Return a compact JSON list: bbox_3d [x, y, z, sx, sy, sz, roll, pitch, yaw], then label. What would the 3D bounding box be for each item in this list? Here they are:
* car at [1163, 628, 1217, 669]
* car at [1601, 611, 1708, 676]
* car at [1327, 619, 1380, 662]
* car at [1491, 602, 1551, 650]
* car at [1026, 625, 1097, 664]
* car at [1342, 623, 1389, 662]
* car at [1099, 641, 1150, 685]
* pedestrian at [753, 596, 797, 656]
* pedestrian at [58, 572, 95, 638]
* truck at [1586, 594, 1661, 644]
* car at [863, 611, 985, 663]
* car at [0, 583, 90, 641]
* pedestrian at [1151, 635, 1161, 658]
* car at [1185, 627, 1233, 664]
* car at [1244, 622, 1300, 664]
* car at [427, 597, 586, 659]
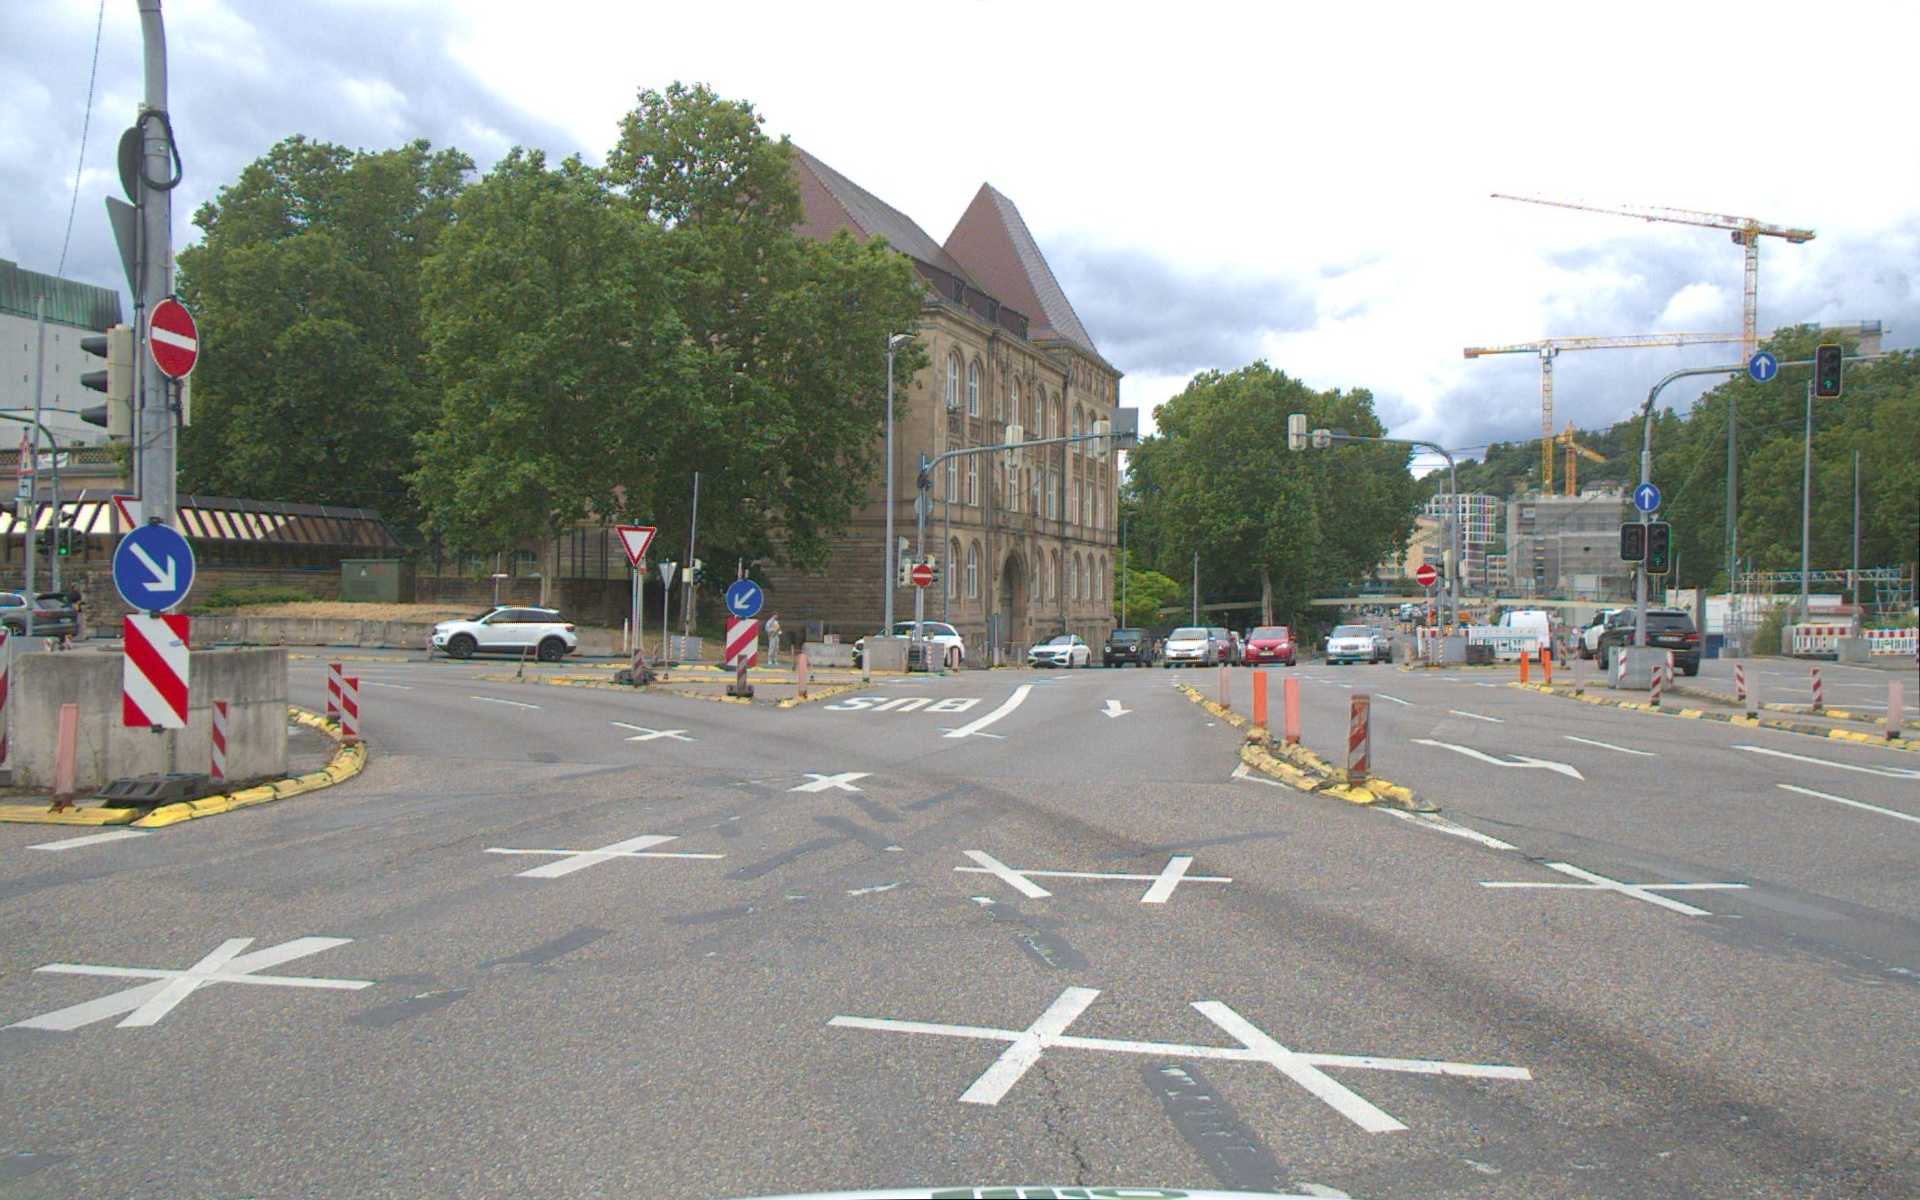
[{"bbox_3d":[8.638,1.830,62.000,1.624,1.461,3.449,-2,-3,14],"label":"car"},{"bbox_3d":[18.990,1.184,45.370,1.897,1.696,3.645,0,-1,9],"label":"car"},{"bbox_3d":[14.143,1.459,59.340,1.653,1.461,3.449,-2,-2,16],"label":"car"},{"bbox_3d":[20.938,0.990,61.808,1.721,1.717,3.645,0,-1,12],"label":"car"},{"bbox_3d":[4.208,1.803,67.808,1.699,1.460,4.382,1,0,20],"label":"car"},{"bbox_3d":[16.218,1.703,66.038,1.653,1.461,3.449,-2,-2,16],"label":"car"},{"bbox_3d":[8.190,3.148,82.176,1.891,1.972,3.674,-2,-5,15],"label":"car"},{"bbox_3d":[-6.345,0.887,56.677,1.175,2.049,1.195,1,-1,-23],"label":"pedestrian"},{"bbox_3d":[-27.800,0.161,52.051,0.833,2.049,0.621,0,-2,-12],"label":"pedestrian"},{"bbox_3d":[23.881,0.645,59.634,1.893,1.711,4.016,1,0,13],"label":"truck"},{"bbox_3d":[-1.186,1.258,56.912,1.782,1.671,4.533,1,0,37],"label":"car"},{"bbox_3d":[-27.570,0.313,47.356,4.371,1.595,1.830,1,0,3],"label":"car"},{"bbox_3d":[14.353,3.402,120.887,0.645,1.664,0.851,0,-1,12],"label":"pedestrian"},{"bbox_3d":[10.370,1.881,68.836,1.625,1.460,3.449,1,-1,14],"label":"car"},{"bbox_3d":[11.339,1.547,59.965,1.650,1.460,3.449,-1,-1,16],"label":"car"},{"bbox_3d":[-13.386,0.821,48.808,4.262,1.594,1.743,2,3,-26],"label":"car"}]
